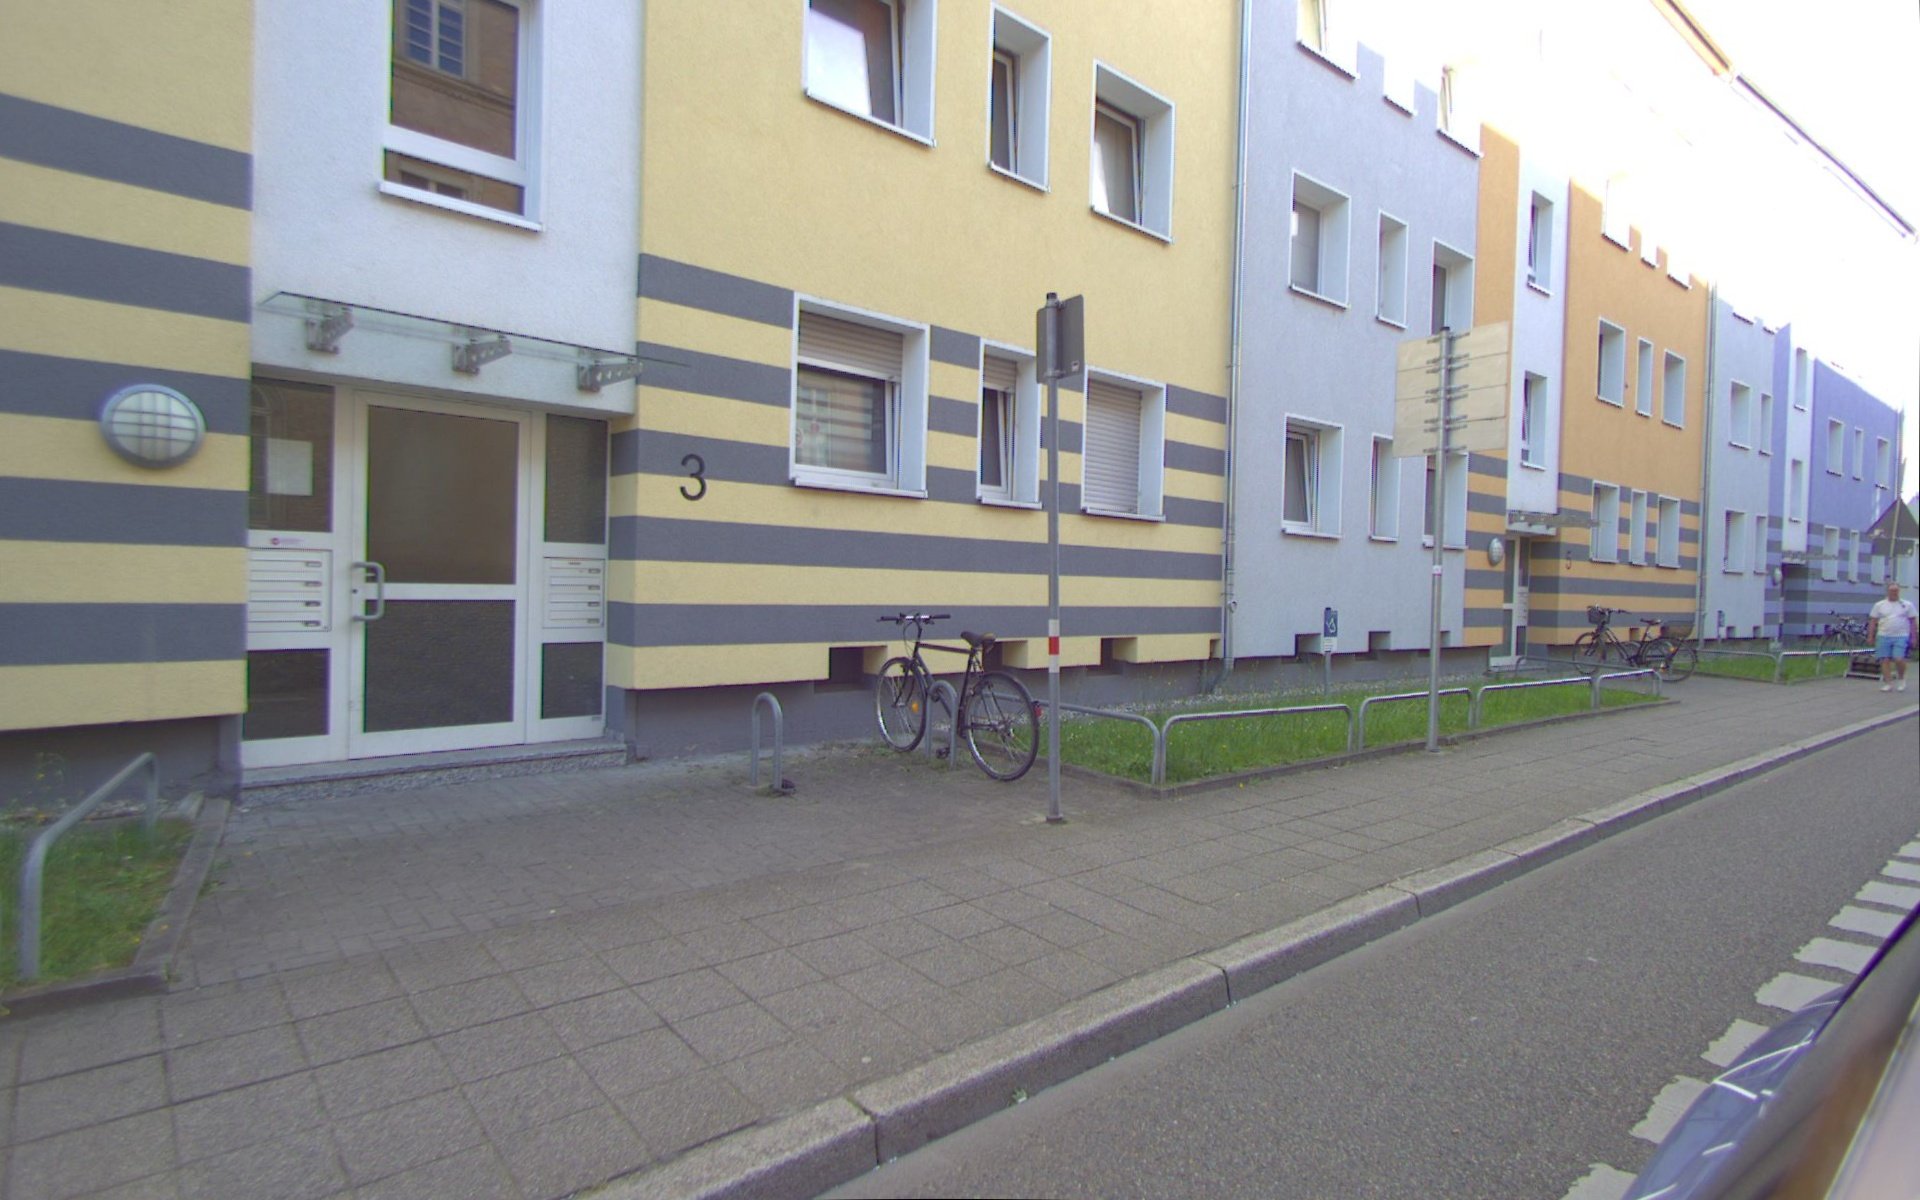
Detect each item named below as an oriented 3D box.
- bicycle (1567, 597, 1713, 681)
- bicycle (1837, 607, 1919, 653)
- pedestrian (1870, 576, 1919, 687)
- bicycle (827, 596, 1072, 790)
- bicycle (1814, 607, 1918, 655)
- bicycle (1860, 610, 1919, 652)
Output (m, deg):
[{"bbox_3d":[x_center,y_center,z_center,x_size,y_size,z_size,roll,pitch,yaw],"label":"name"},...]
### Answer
[{"bbox_3d":[10.689,0.578,15.963,0.574,1.138,1.775,0,4,-42],"label":"bicycle"},{"bbox_3d":[23.351,0.750,25.492,0.572,1.007,1.779,1,3,-33],"label":"bicycle"},{"bbox_3d":[15.005,0.480,16.054,0.819,1.692,0.644,1,2,-39],"label":"pedestrian"},{"bbox_3d":[-0.122,0.561,6.940,1.773,1.061,0.574,5,4,45],"label":"bicycle"},{"bbox_3d":[22.187,0.746,24.822,0.572,1.007,1.779,1,3,-33],"label":"bicycle"},{"bbox_3d":[24.053,0.807,25.600,0.572,0.950,1.779,1,3,-33],"label":"bicycle"}]
